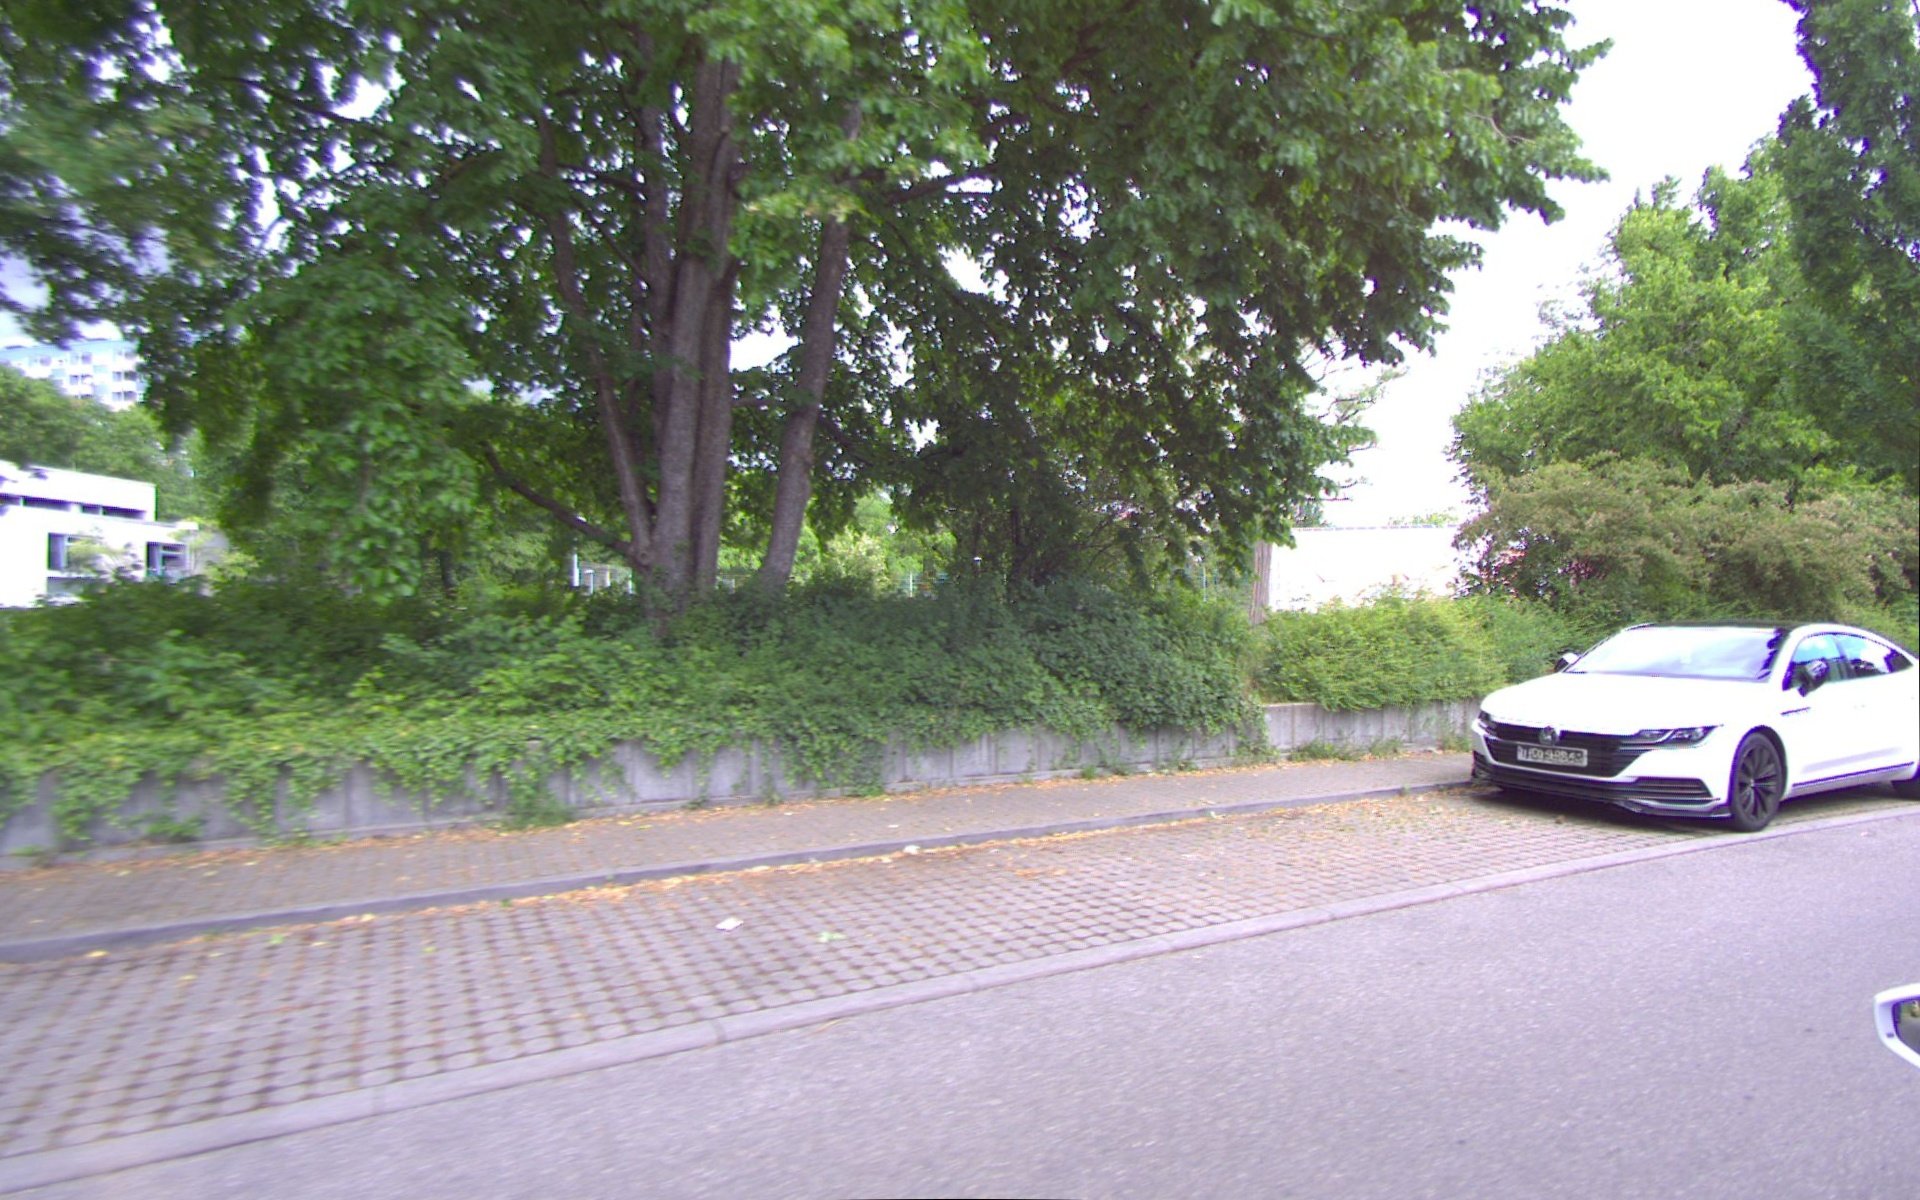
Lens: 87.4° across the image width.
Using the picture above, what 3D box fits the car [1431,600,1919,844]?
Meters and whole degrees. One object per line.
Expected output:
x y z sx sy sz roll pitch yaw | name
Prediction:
6.136 0.792 8.107 4.576 1.512 1.841 1 -1 -27 | car
